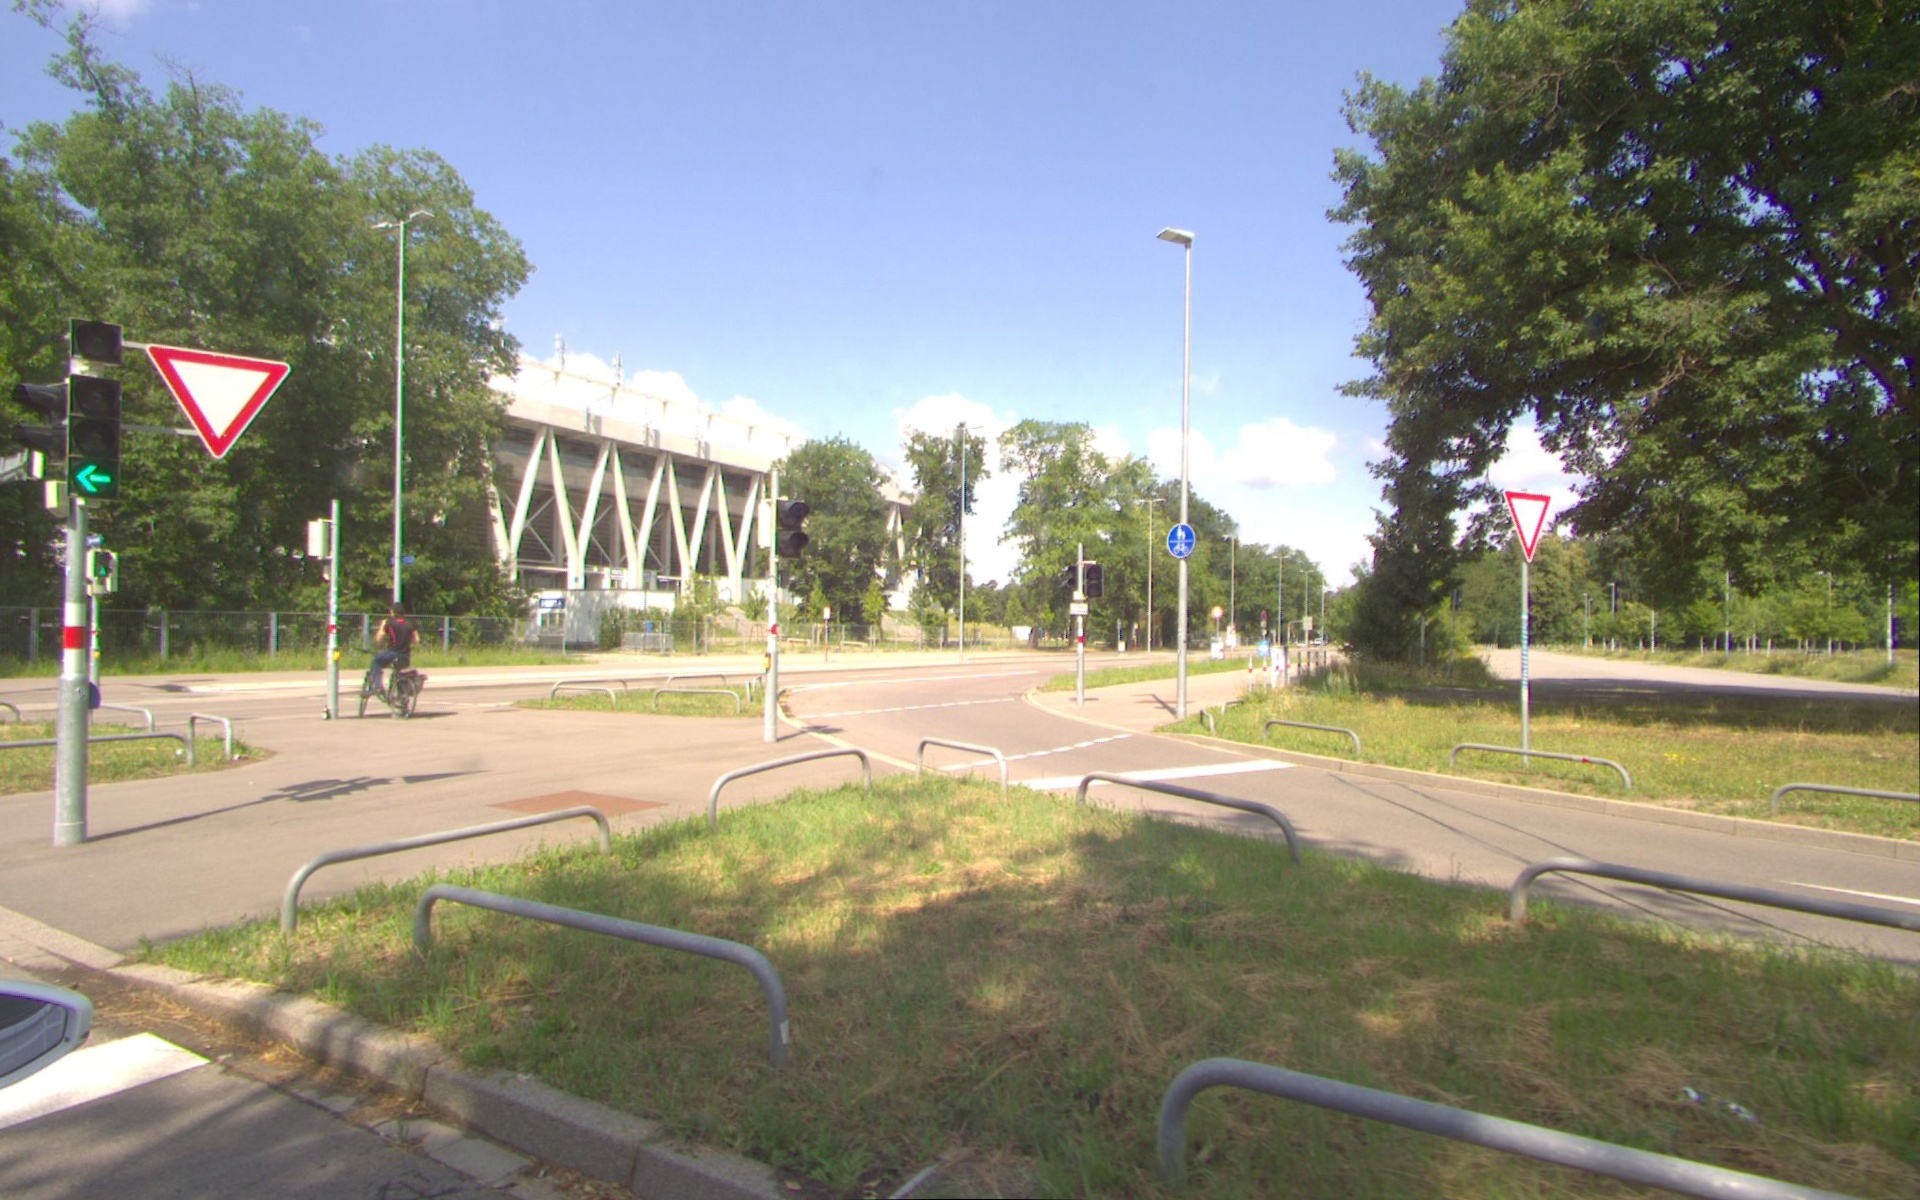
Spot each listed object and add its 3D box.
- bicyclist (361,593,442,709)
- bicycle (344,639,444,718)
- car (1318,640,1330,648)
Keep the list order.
[{"bbox_3d":[-9.112,0.828,16.335,0.967,1.820,0.881,-1,-2,40],"label":"bicyclist"},{"bbox_3d":[-9.347,1.258,16.510,1.876,1.221,0.876,-2,-2,42],"label":"bicycle"},{"bbox_3d":[66.939,8.095,183.966,1.557,1.498,3.557,-1,-2,29],"label":"car"}]
